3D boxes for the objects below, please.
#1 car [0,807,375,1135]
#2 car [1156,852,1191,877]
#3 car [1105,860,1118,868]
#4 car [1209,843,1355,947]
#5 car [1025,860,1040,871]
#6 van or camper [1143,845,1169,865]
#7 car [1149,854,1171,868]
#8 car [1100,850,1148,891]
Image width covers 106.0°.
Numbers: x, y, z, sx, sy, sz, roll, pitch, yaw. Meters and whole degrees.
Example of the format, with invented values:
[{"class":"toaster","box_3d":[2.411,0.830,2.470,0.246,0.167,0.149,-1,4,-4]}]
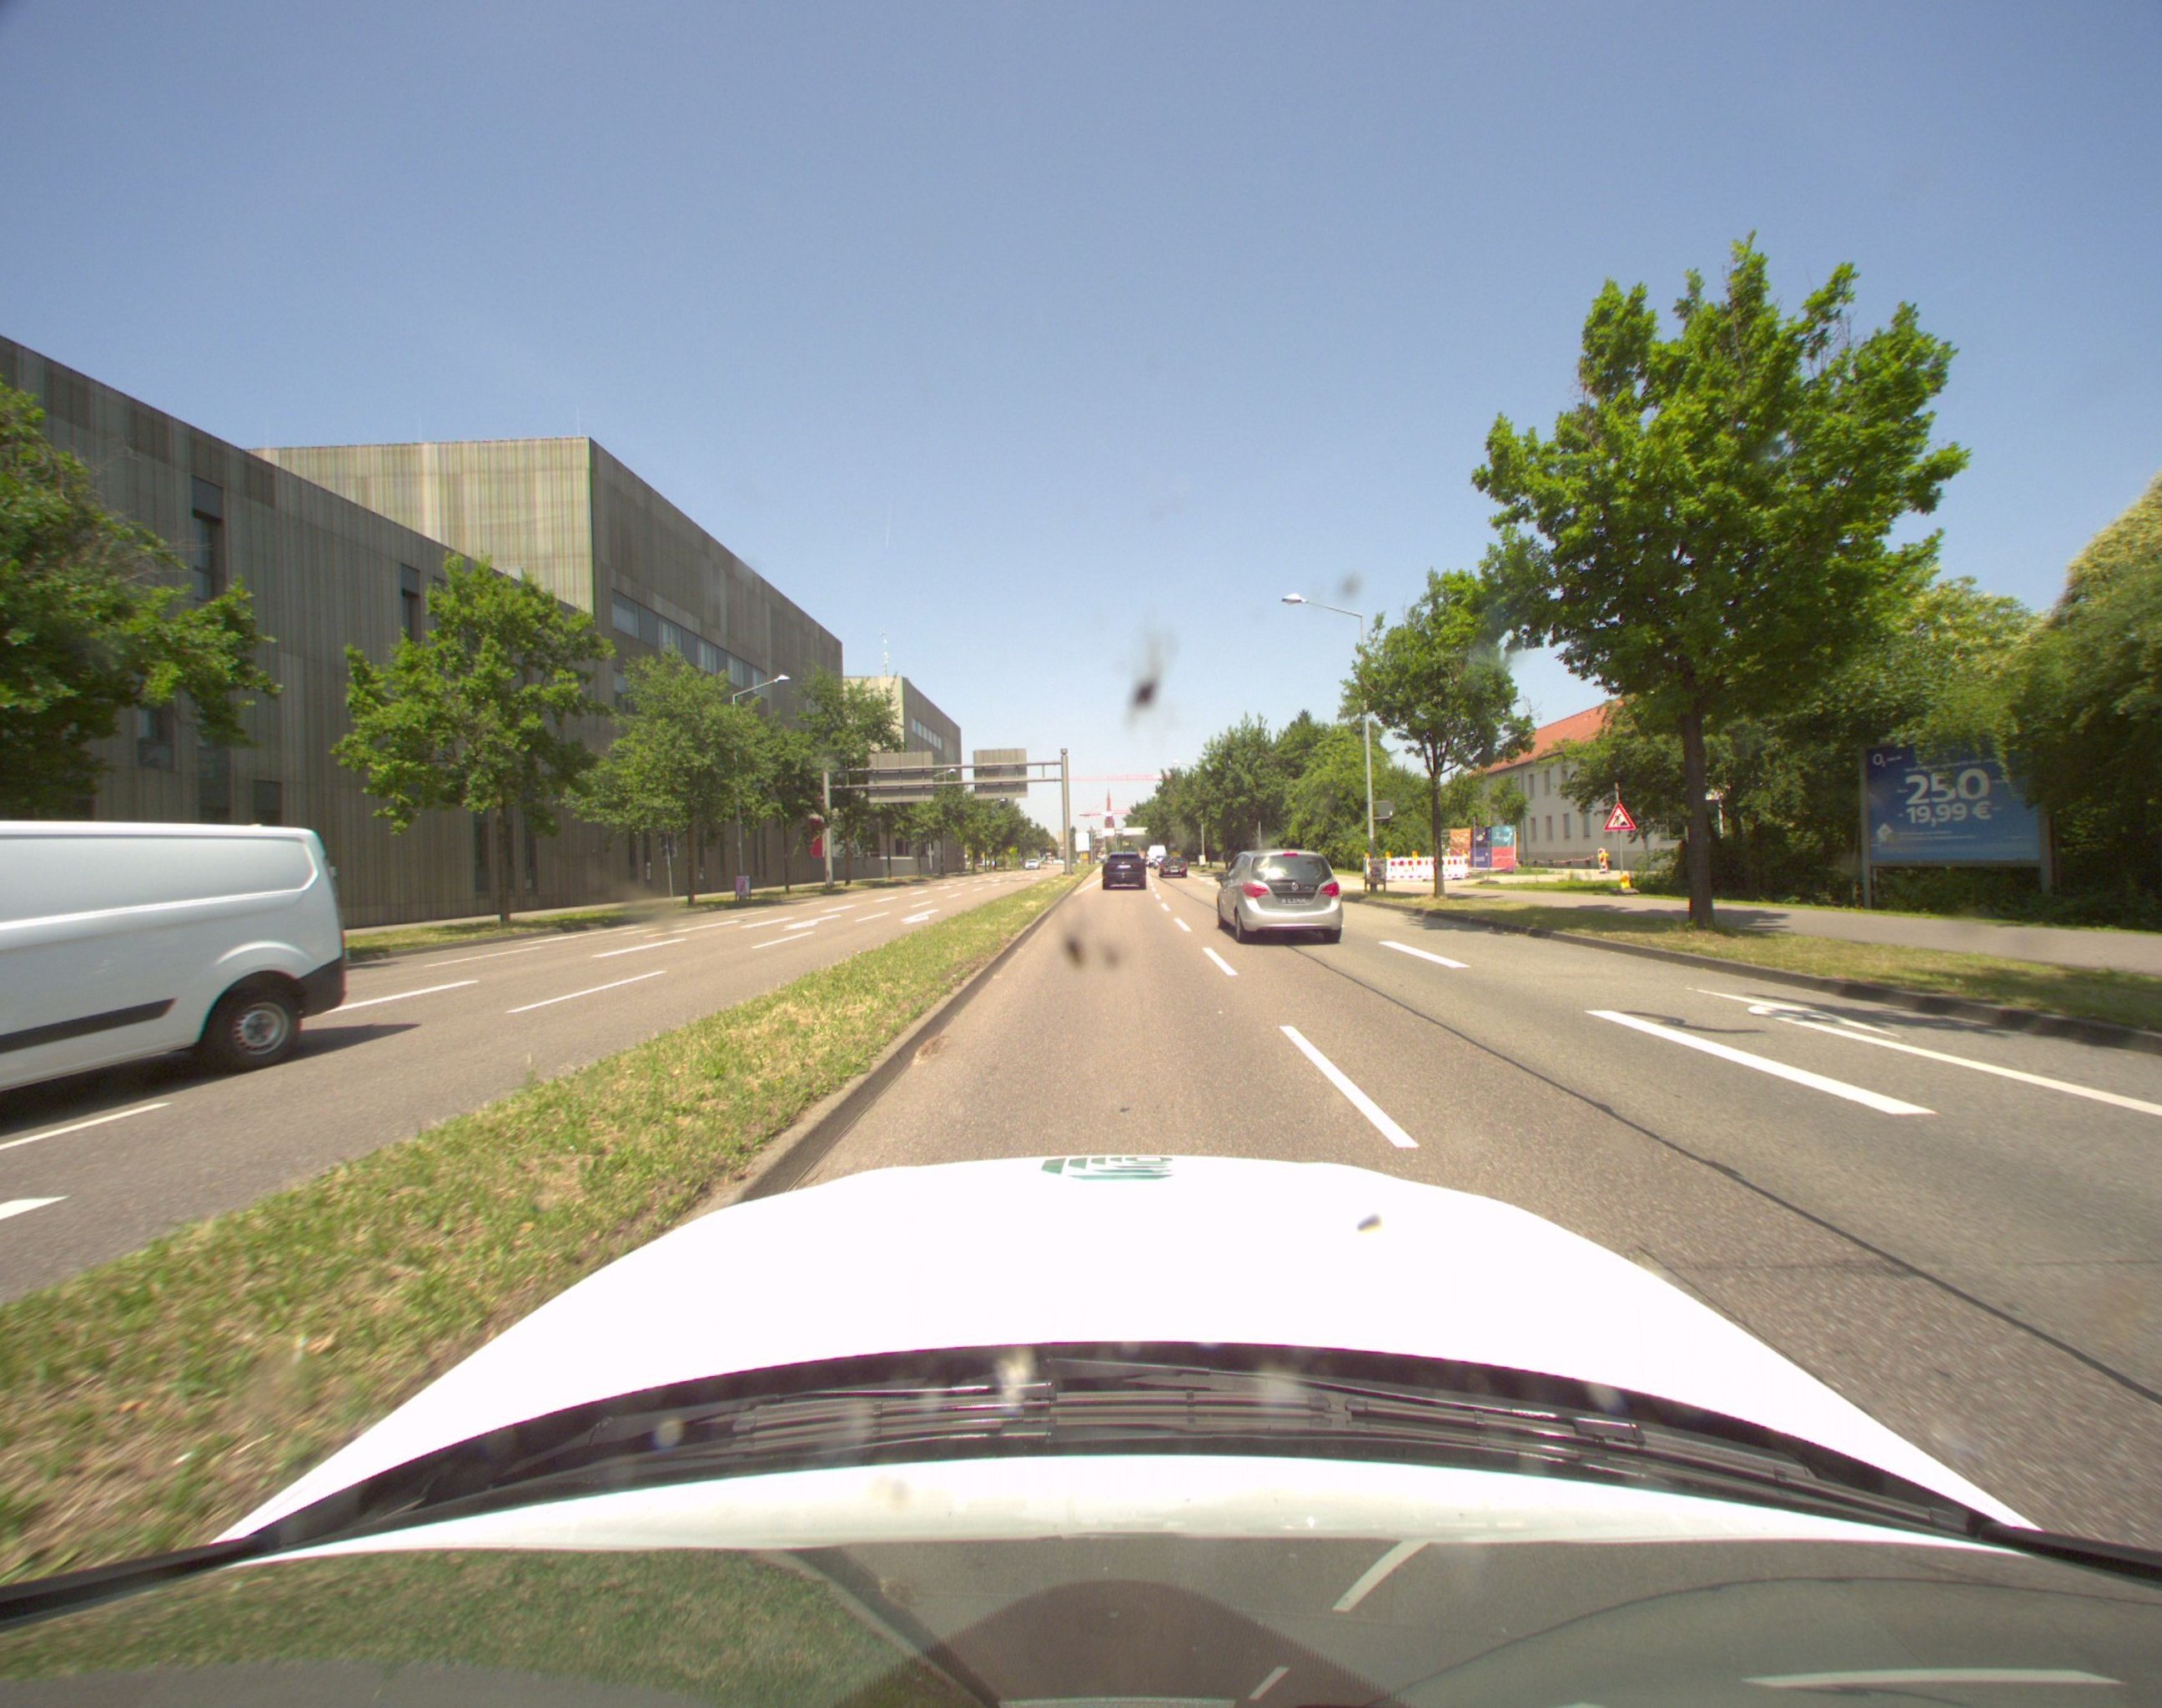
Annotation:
[{"class":"car","box_3d":[-7.550,0.761,5.058,1.903,1.993,4.898,-3,0,1]},{"class":"car","box_3d":[5.990,0.675,53.222,2.005,1.517,4.465,-2,-1,4]},{"class":"car","box_3d":[5.701,1.843,151.757,1.988,1.321,3.997,-2,0,-2]},{"class":"car","box_3d":[3.528,0.662,15.030,1.786,1.612,3.892,-2,0,1]},{"class":"car","box_3d":[-6.955,1.627,117.103,1.804,1.427,4.358,-3,0,0]},{"class":"van or camper","box_3d":[8.714,0.136,95.248,2.485,2.291,4.920,-2,-1,0]},{"class":"car","box_3d":[8.123,0.687,84.242,1.650,1.356,4.457,-2,-1,-2]},{"class":"car","box_3d":[1.944,0.699,36.529,1.989,1.689,4.037,-1,0,3]}]
